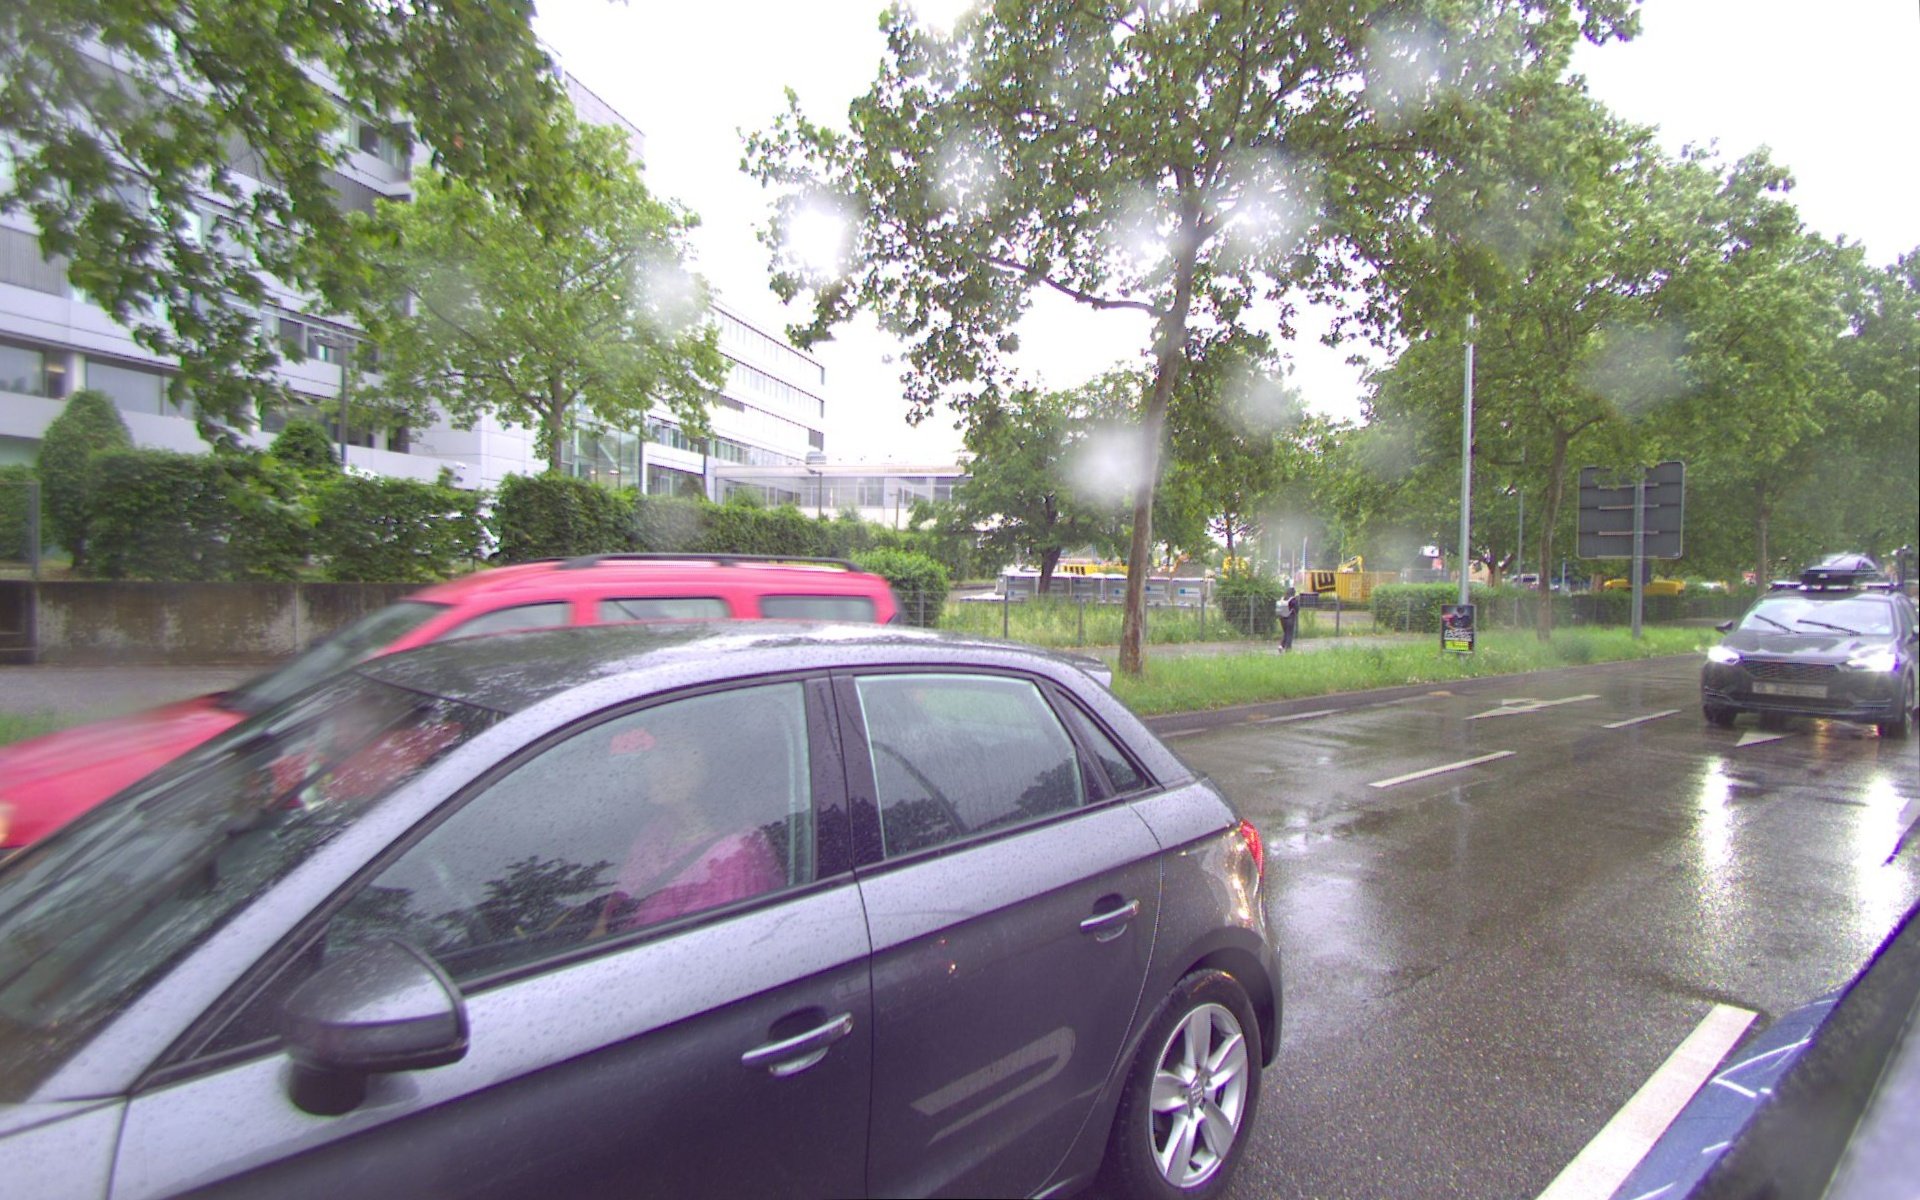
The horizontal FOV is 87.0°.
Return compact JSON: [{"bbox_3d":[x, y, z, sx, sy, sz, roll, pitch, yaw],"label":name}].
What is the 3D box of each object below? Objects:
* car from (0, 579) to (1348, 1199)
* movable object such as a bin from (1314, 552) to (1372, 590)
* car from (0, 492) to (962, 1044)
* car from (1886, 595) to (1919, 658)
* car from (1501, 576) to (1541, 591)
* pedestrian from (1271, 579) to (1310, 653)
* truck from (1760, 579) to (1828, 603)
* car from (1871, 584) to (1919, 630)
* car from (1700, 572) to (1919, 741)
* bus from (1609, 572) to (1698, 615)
[{"bbox_3d":[-0.907,0.690,2.124,3.715,1.446,1.679,0,1,-41],"label":"car"},{"bbox_3d":[35.958,-2.680,95.019,4.894,3.478,1.899,0,0,29],"label":"movable object such as a bin"},{"bbox_3d":[-2.125,0.487,5.038,4.198,1.715,1.713,-1,1,-41],"label":"car"},{"bbox_3d":[23.938,0.620,24.774,3.331,1.481,1.571,0,0,-42],"label":"car"},{"bbox_3d":[53.153,-1.580,95.933,3.115,1.346,1.419,0,0,23],"label":"car"},{"bbox_3d":[7.983,0.375,24.466,0.645,1.738,0.645,0,0,-40],"label":"pedestrian"},{"bbox_3d":[85.199,-0.911,103.446,4.988,2.406,1.785,0,0,19],"label":"truck"},{"bbox_3d":[37.160,0.284,39.649,4.074,1.707,1.677,1,-1,-41],"label":"car"},{"bbox_3d":[10.839,0.558,12.484,4.347,1.719,1.892,0,1,-42],"label":"car"},{"bbox_3d":[43.727,-0.415,63.902,1.681,2.600,4.366,0,0,-41],"label":"bus"}]
